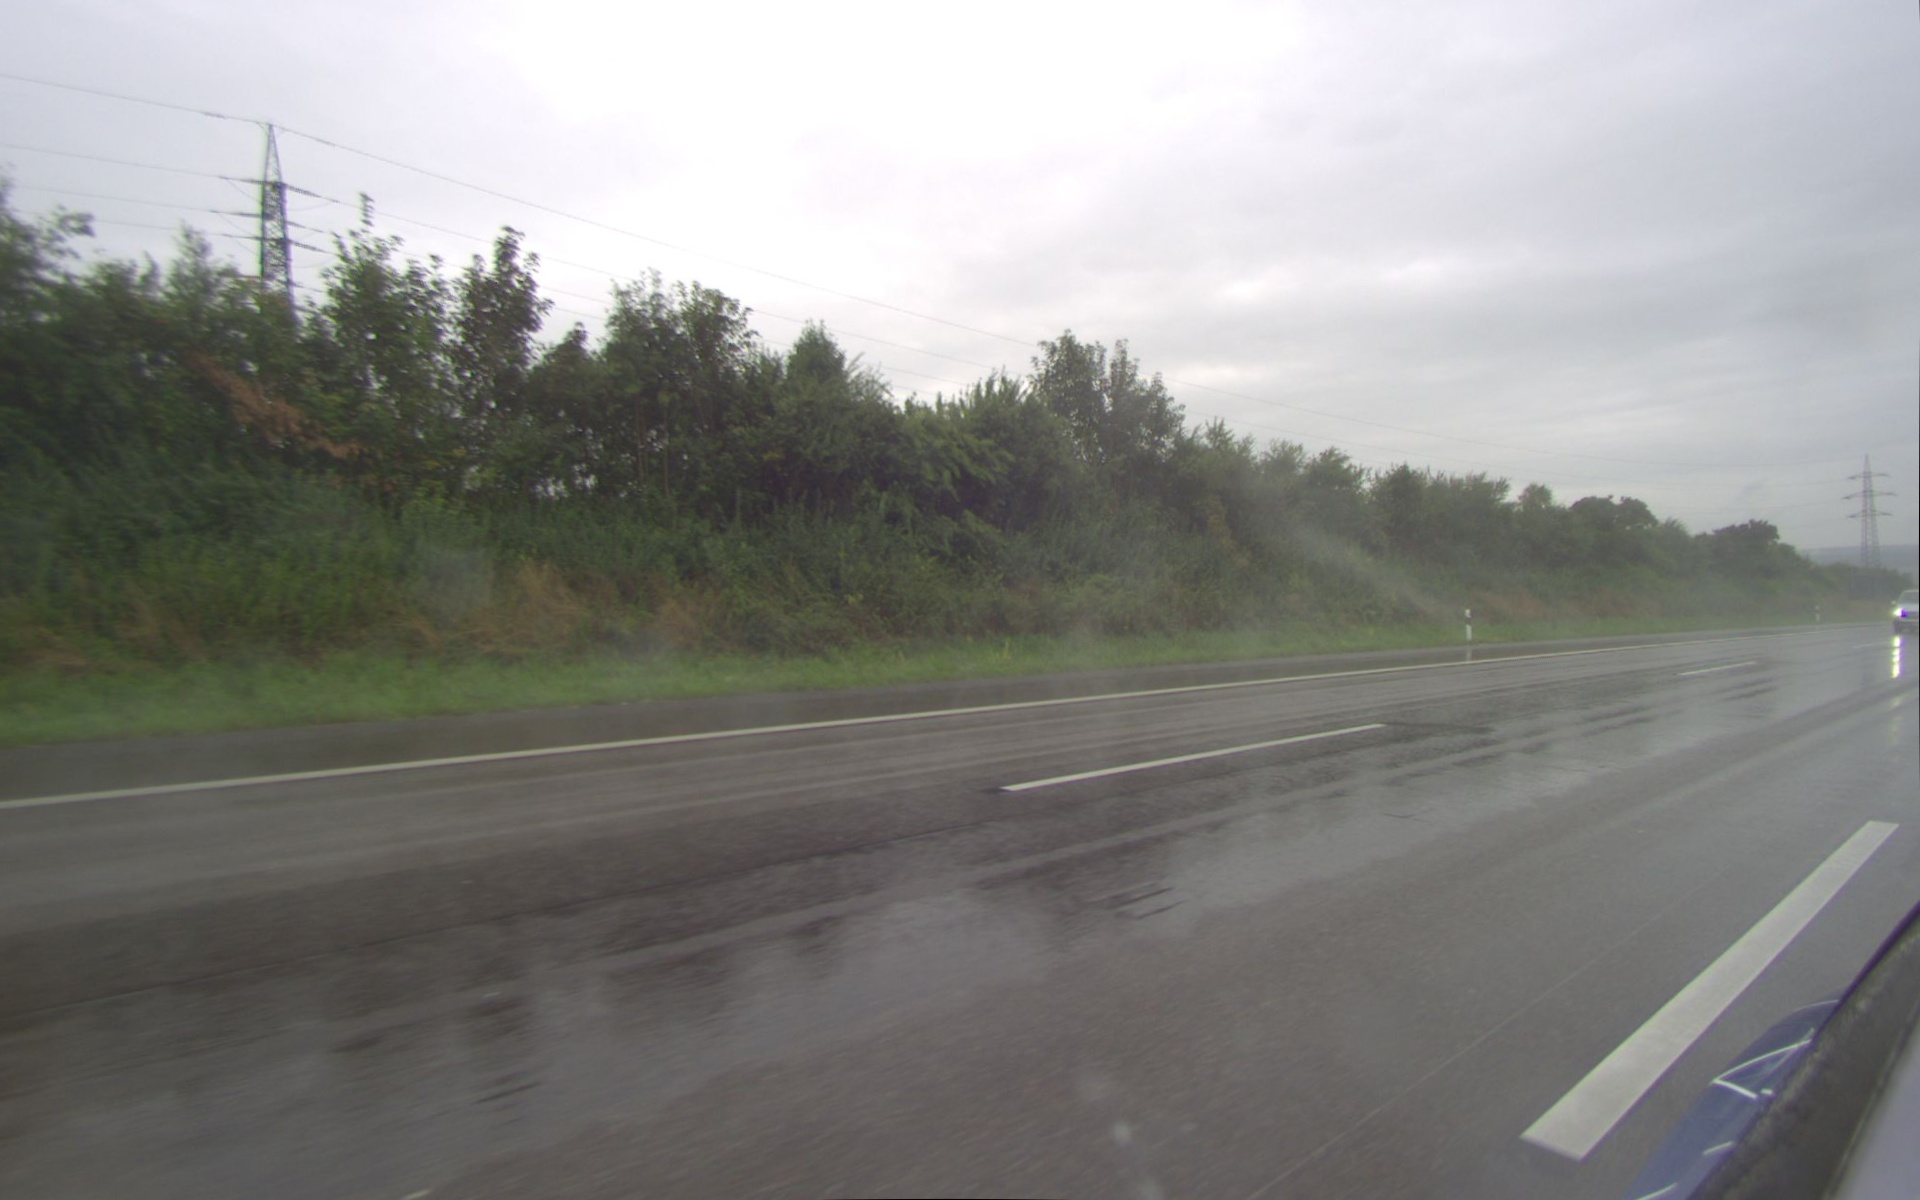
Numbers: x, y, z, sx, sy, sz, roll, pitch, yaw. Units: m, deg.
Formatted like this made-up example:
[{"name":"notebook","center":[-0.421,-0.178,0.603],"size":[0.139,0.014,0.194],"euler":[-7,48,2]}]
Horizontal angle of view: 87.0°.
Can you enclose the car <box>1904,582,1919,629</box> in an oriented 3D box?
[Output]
[{"name":"car","center":[43.365,0.237,44.657],"size":[3.928,2.039,1.998],"euler":[0,-1,-39]}]
